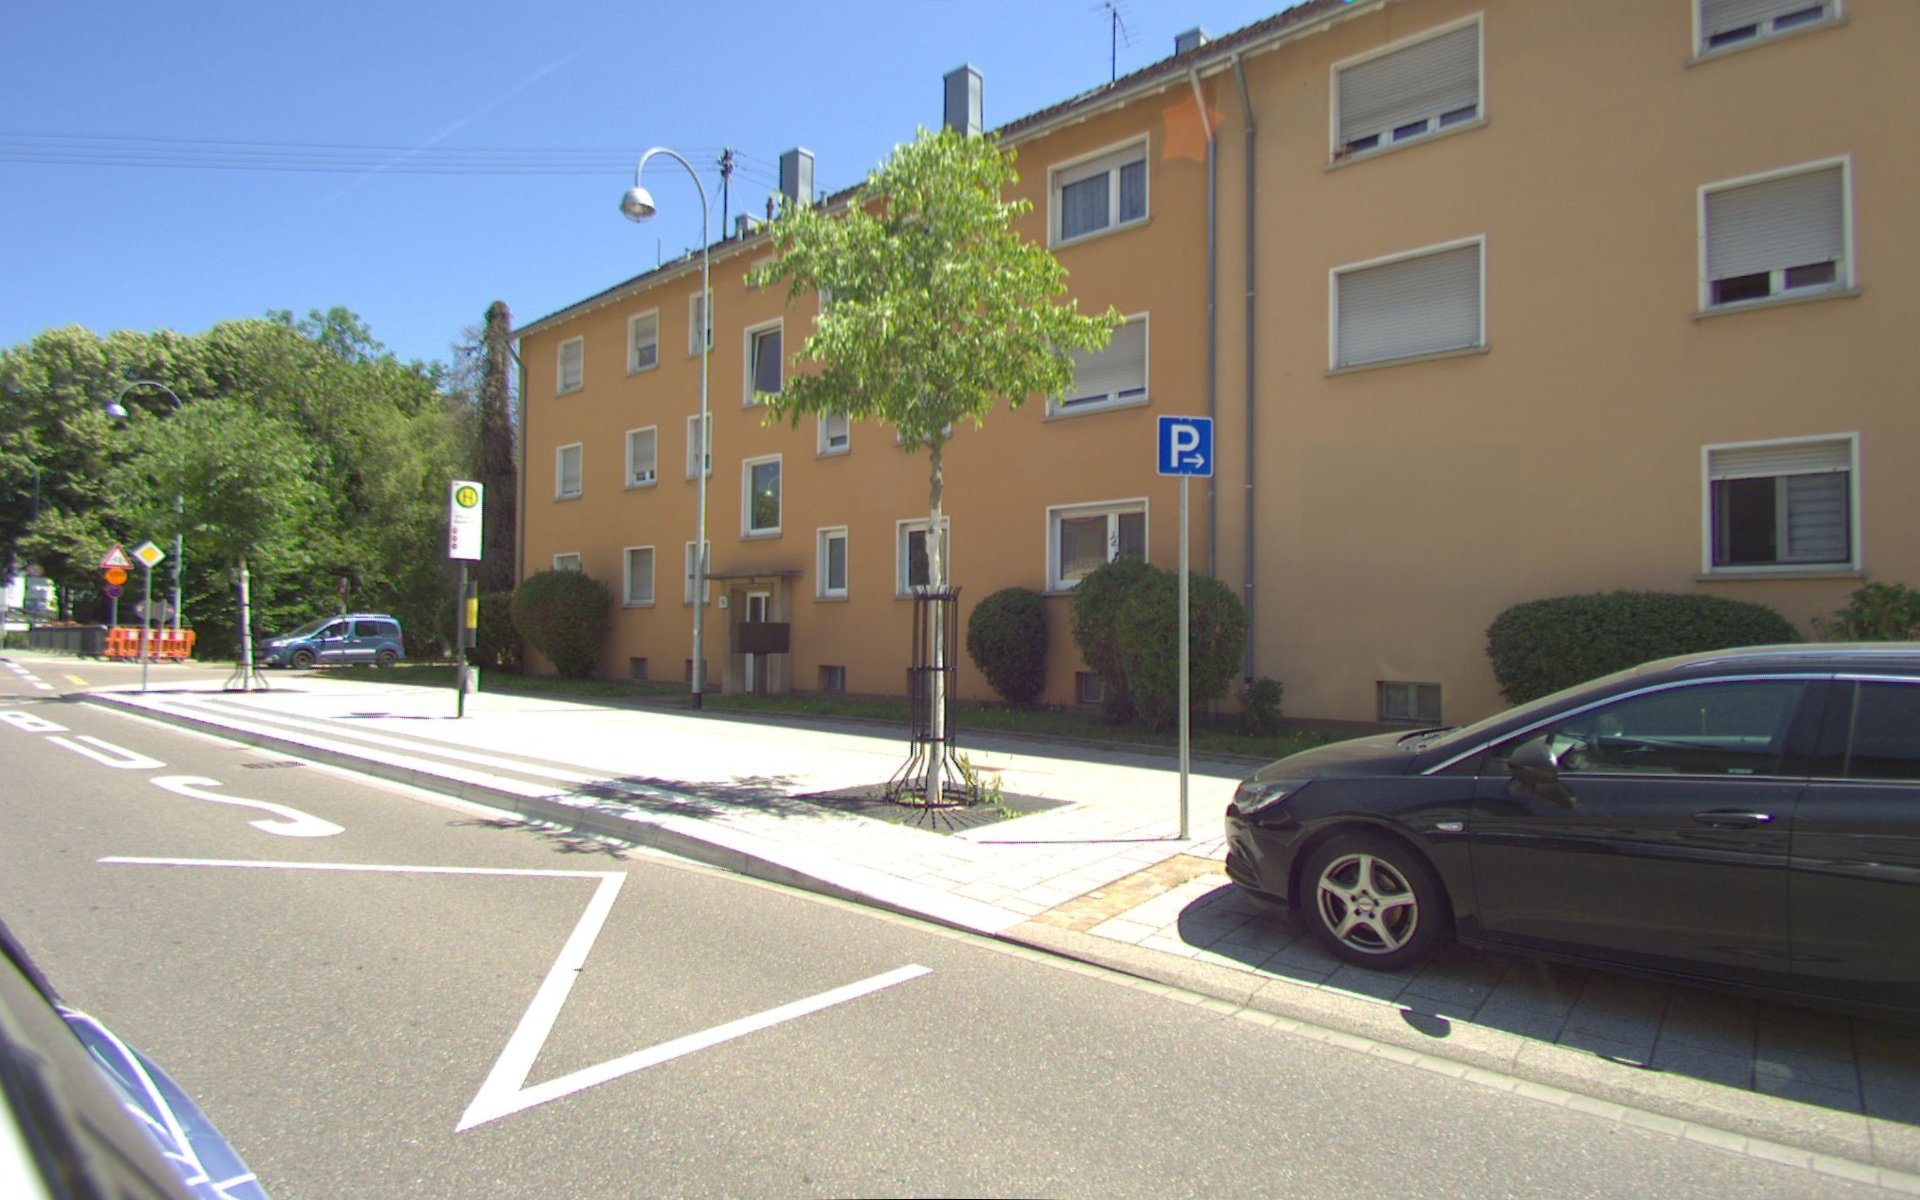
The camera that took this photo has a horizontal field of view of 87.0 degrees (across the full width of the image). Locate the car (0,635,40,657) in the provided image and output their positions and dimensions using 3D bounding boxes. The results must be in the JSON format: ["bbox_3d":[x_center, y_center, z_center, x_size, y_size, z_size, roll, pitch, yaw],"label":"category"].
[{"bbox_3d":[-80.431,3.907,85.839,3.974,1.729,1.984,-2,-5,23],"label":"car"}]

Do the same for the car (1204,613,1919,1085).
[{"bbox_3d":[3.536,0.833,4.186,4.557,1.518,1.839,-2,-1,39],"label":"car"}]

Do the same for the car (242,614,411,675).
[{"bbox_3d":[-20.995,1.508,33.744,1.812,1.888,4.393,0,-3,30],"label":"car"}]
